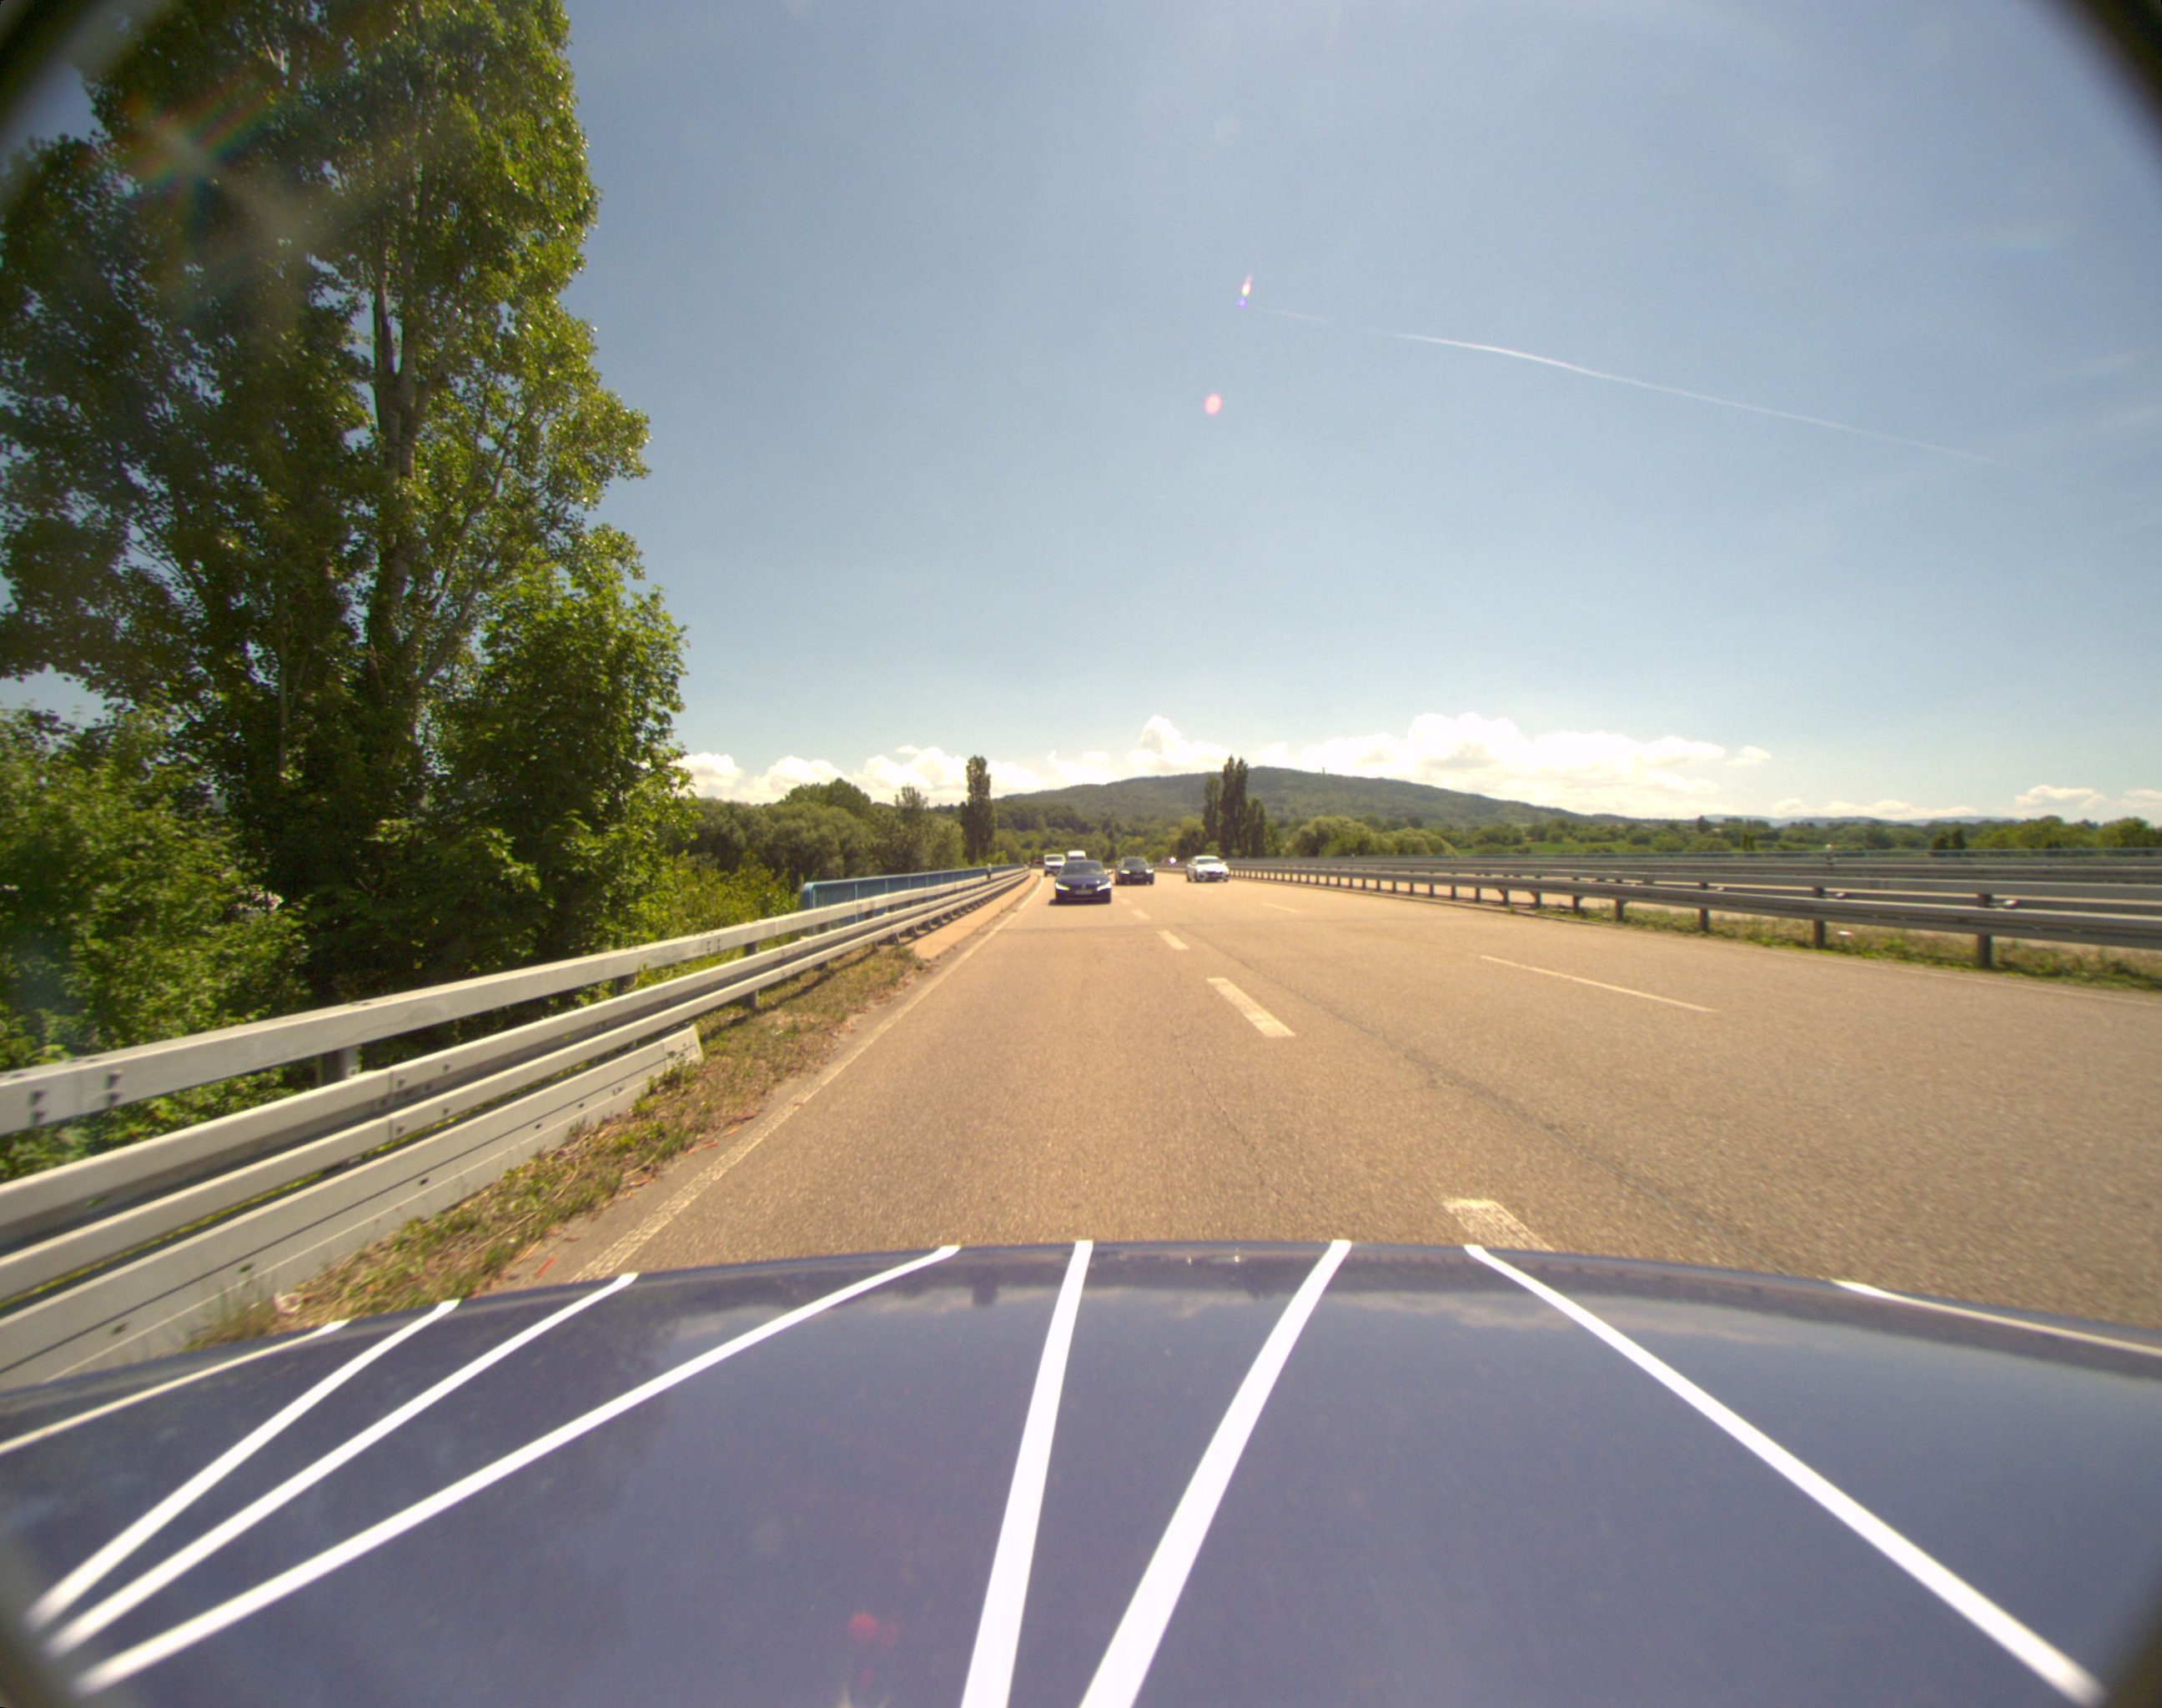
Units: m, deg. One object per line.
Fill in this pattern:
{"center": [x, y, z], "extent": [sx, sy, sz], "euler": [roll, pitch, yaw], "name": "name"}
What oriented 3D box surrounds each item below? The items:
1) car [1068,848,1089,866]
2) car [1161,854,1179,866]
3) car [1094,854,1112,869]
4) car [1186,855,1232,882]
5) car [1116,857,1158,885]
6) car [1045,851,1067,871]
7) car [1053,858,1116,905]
{"center": [-0.298, 0.326, 86.273], "extent": [2.009, 1.987, 4.577], "euler": [-2, 0, -4], "name": "car"}
{"center": [13.086, 0.815, 112.434], "extent": [1.848, 1.658, 5.049], "euler": [-1, 1, -2], "name": "car"}
{"center": [3.070, 1.043, 108.249], "extent": [2.009, 1.987, 4.577], "euler": [-1, 0, -4], "name": "car"}
{"center": [7.274, 0.783, 43.469], "extent": [1.846, 1.399, 4.469], "euler": [-1, 0, 0], "name": "car"}
{"center": [2.969, 0.893, 41.353], "extent": [1.846, 1.399, 4.469], "euler": [-1, 0, -1], "name": "car"}
{"center": [-2.326, 0.616, 69.338], "extent": [1.885, 1.723, 4.468], "euler": [-2, 0, -2], "name": "car"}
{"center": [0.023, 0.889, 26.122], "extent": [1.846, 1.399, 4.468], "euler": [-2, 0, -4], "name": "car"}
